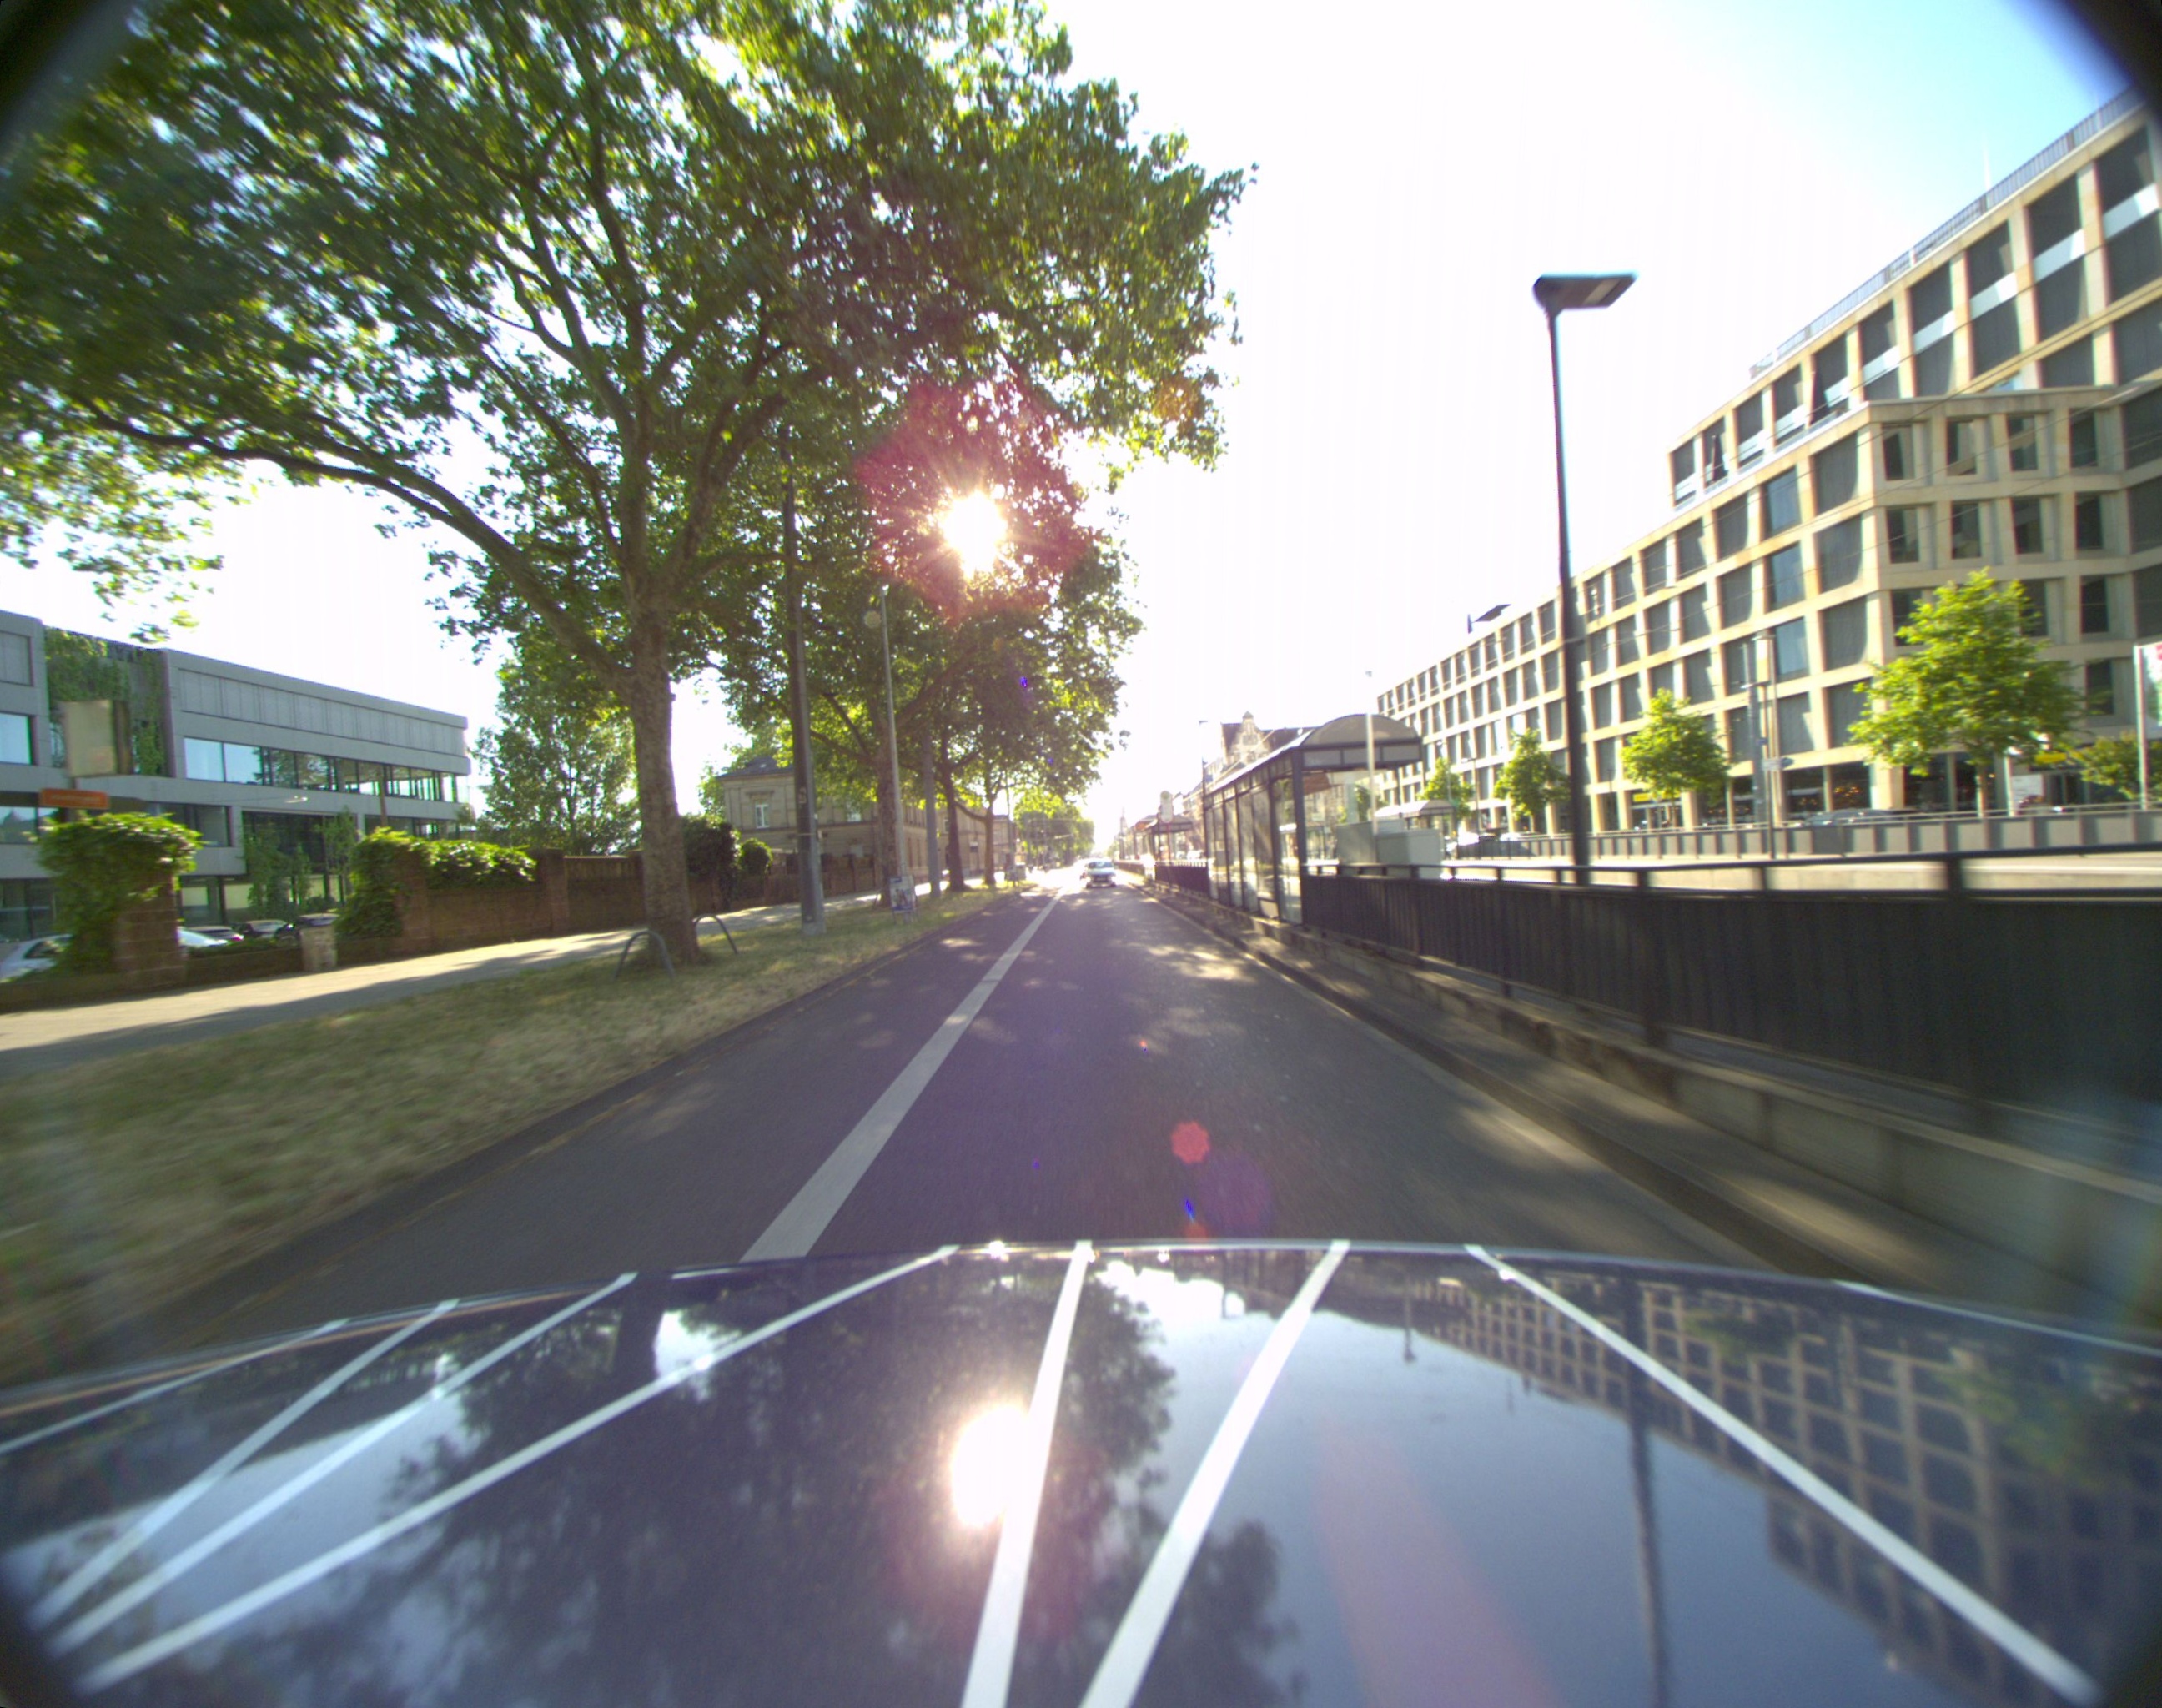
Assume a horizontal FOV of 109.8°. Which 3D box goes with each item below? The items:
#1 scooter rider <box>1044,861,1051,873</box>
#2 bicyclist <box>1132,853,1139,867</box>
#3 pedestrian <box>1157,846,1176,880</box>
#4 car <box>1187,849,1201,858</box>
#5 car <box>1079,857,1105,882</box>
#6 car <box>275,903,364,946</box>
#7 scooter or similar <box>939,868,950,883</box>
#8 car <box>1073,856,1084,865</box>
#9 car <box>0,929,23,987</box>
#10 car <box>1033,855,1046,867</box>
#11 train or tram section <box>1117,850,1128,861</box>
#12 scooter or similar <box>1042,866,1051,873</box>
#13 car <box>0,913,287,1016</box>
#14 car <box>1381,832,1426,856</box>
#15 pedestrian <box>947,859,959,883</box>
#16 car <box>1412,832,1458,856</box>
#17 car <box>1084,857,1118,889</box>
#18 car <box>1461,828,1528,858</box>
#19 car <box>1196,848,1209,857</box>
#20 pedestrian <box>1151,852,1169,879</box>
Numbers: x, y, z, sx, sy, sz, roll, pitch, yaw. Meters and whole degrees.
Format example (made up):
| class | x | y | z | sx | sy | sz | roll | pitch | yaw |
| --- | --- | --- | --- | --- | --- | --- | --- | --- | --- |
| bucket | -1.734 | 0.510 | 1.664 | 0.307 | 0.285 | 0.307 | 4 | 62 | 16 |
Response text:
| class | x | y | z | sx | sy | sz | roll | pitch | yaw |
| --- | --- | --- | --- | --- | --- | --- | --- | --- | --- |
| scooter rider | -3.851 | 1.489 | 87.896 | 0.703 | 1.388 | 0.600 | -4 | 0 | 1 |
| bicyclist | 6.427 | 0.710 | 90.084 | 0.629 | 1.609 | 0.684 | -4 | 0 | 8 |
| pedestrian | 3.895 | 0.410 | 34.534 | 0.747 | 1.500 | 0.666 | -3 | 0 | 3 |
| car | 23.191 | -0.077 | 156.216 | 1.741 | 1.516 | 3.999 | -5 | 0 | -5 |
| car | 0.724 | 1.047 | 53.298 | 1.649 | 1.555 | 3.666 | -5 | 0 | 0 |
| car | -36.834 | 3.421 | 36.749 | 4.355 | 1.805 | 1.975 | -4 | 0 | 31 |
| scooter or similar | -10.408 | 1.632 | 57.920 | 0.720 | 1.149 | 0.759 | -2 | 0 | -6 |
| car | -0.433 | 1.294 | 147.607 | 1.833 | 1.644 | 4.000 | -5 | 0 | 1 |
| car | -36.712 | 3.486 | 24.570 | 4.356 | 1.805 | 1.974 | -4 | 0 | 24 |
| car | -8.039 | 1.357 | 147.455 | 1.833 | 2.034 | 4.001 | -5 | 0 | 4 |
| train or tram section | 14.642 | 0.704 | 269.173 | 2.782 | 3.378 | 19.475 | -5 | -1 | 0 |
| scooter or similar | -4.000 | 1.788 | 87.812 | 1.023 | 0.806 | 0.265 | -4 | 0 | 0 |
| car | -19.119 | 2.162 | 15.116 | 4.117 | 1.512 | 2.040 | -4 | 0 | -8 |
| car | 26.189 | -0.803 | 61.813 | 1.923 | 1.759 | 4.000 | -4 | 0 | 1 |
| pedestrian | -9.795 | 1.298 | 58.128 | 0.771 | 1.734 | 0.796 | -2 | 0 | -6 |
| car | 25.990 | -0.717 | 55.961 | 1.649 | 1.552 | 3.650 | -4 | 0 | 1 |
| car | 1.052 | 0.987 | 41.680 | 1.649 | 1.555 | 3.666 | -4 | 0 | 0 |
| car | 25.694 | -0.649 | 47.356 | 1.998 | 1.653 | 4.000 | -4 | 0 | 1 |
| car | 23.283 | -0.318 | 145.655 | 1.780 | 1.660 | 4.000 | -4 | 0 | -1 |
| pedestrian | 3.880 | 0.565 | 37.351 | 0.743 | 1.266 | 0.524 | -4 | 0 | 0 |
